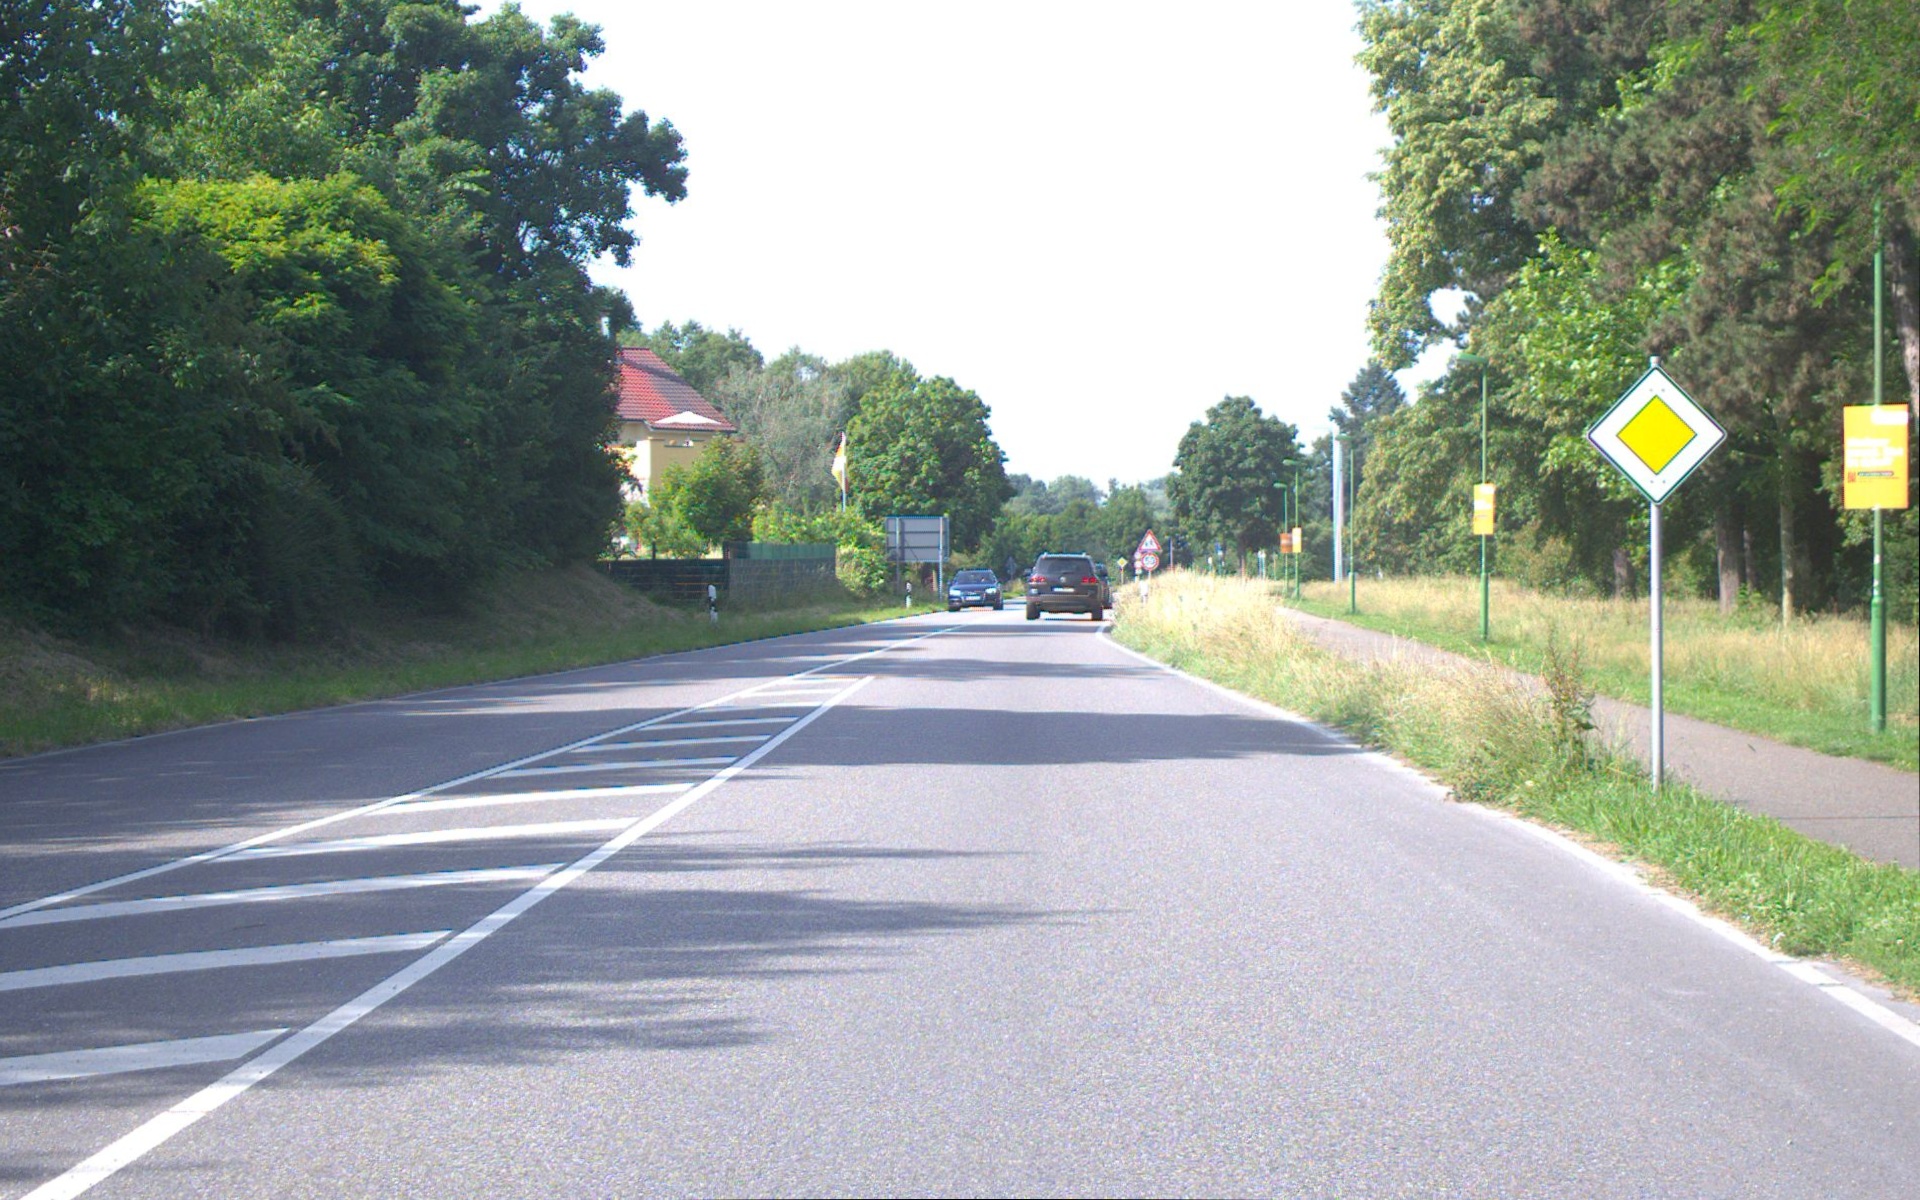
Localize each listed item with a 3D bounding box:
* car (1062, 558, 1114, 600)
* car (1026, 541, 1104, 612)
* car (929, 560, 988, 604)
[{"bbox_3d":[4.634,-0.774,124.868,1.735,1.511,3.914,0,1,0],"label":"car"},{"bbox_3d":[2.661,-0.626,87.914,1.925,1.765,4.000,0,1,1],"label":"car"},{"bbox_3d":[-0.024,-0.642,121.308,1.870,1.418,4.577,-2,1,2],"label":"car"}]
